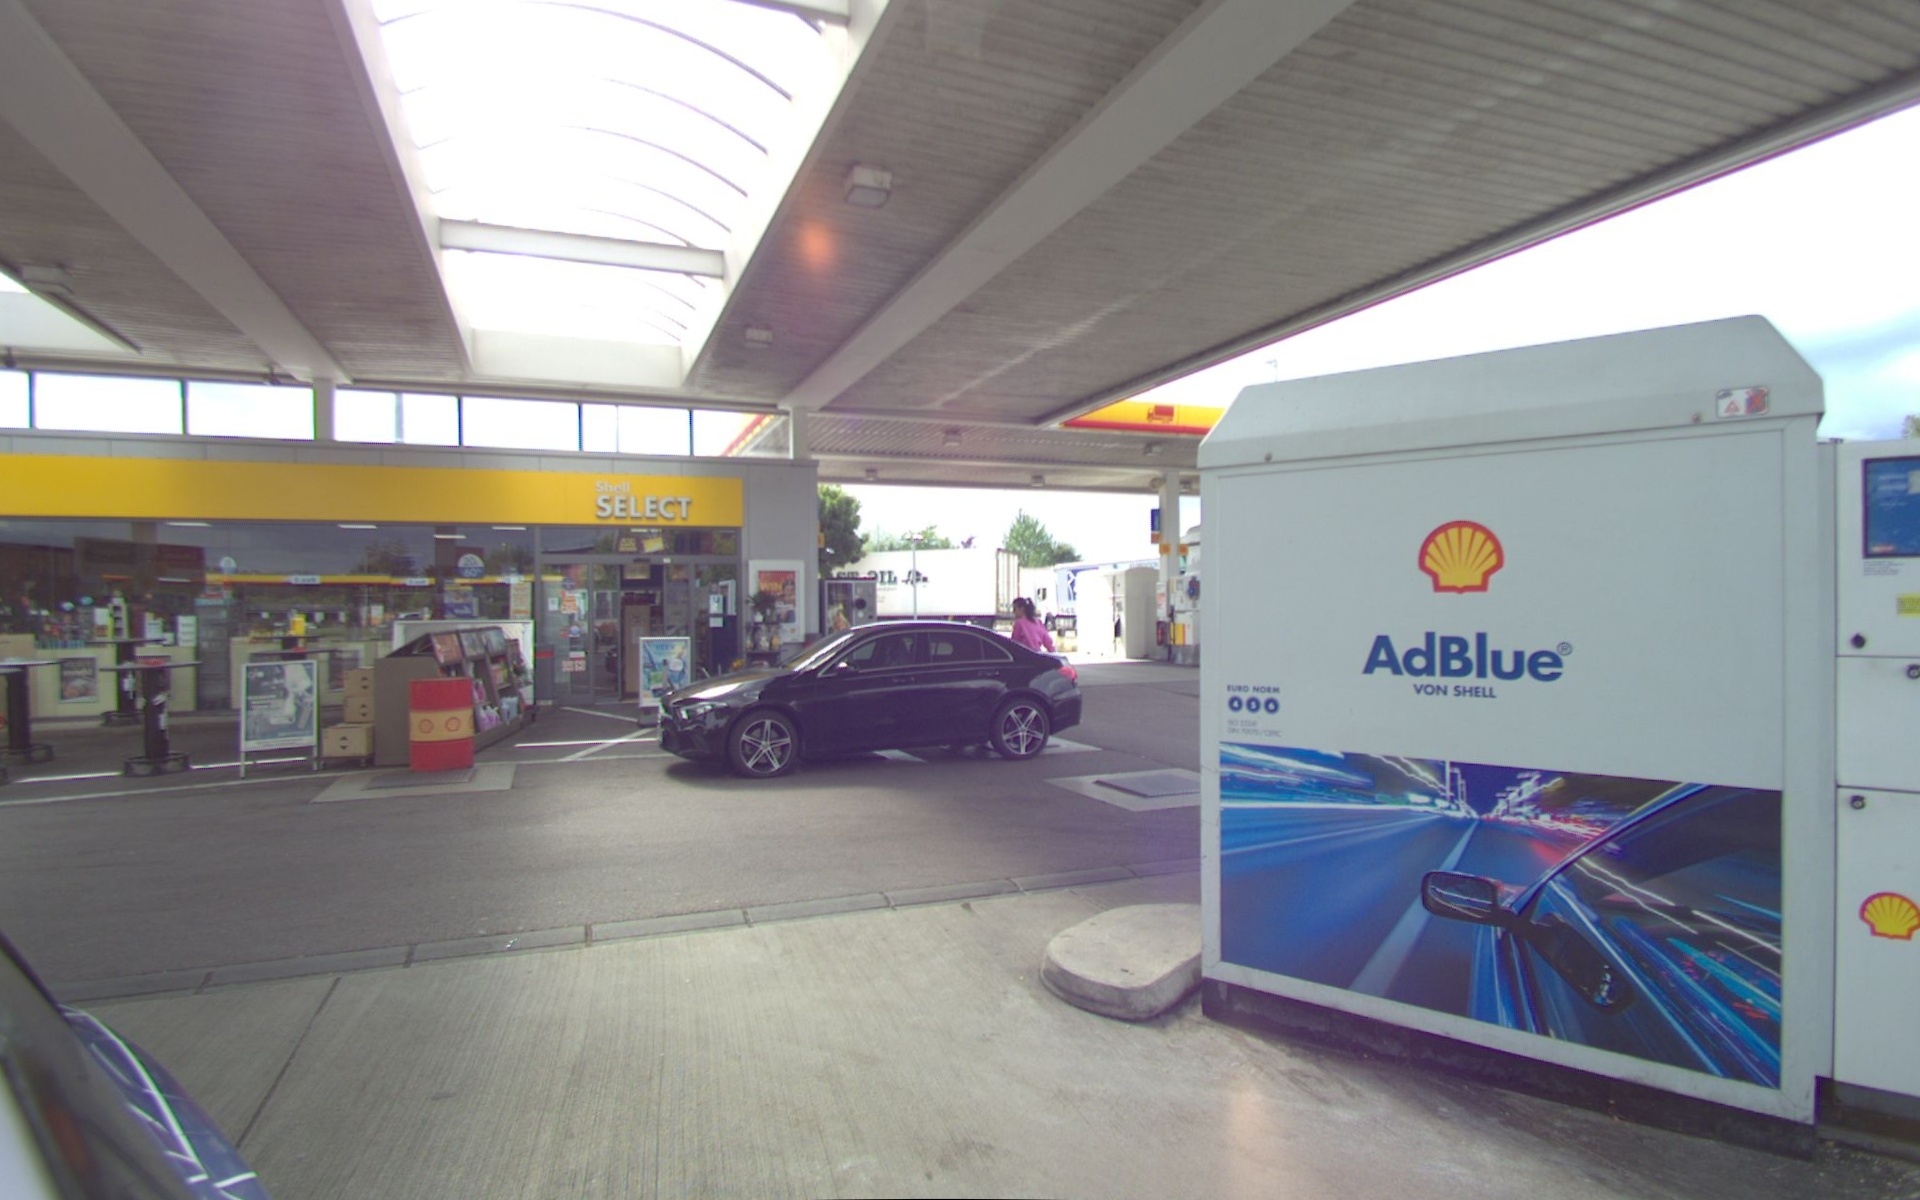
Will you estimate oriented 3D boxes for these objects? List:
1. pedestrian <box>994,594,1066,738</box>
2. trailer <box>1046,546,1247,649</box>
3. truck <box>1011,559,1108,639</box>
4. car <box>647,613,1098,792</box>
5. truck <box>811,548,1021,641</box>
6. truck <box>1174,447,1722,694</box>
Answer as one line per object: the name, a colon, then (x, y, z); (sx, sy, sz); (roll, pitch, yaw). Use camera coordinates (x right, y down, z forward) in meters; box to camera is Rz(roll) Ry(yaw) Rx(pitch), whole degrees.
pedestrian: (0.873, 0.791, 12.589); (0.623, 1.726, 0.618); (-1, 0, 44)
trailer: (9.088, -0.110, 52.692); (3.294, 4.600, 14.397); (-1, 0, -20)
truck: (5.909, -0.060, 61.239); (3.333, 4.538, 6.249); (-1, 0, -20)
car: (-0.930, 0.937, 10.673); (4.394, 1.511, 1.785); (-1, 0, -21)
truck: (-2.119, -0.190, 46.856); (9.536, 4.036, 2.772); (-1, 0, 25)
truck: (9.645, -0.471, 23.120); (2.491, 4.069, 12.947); (-1, 0, -22)
